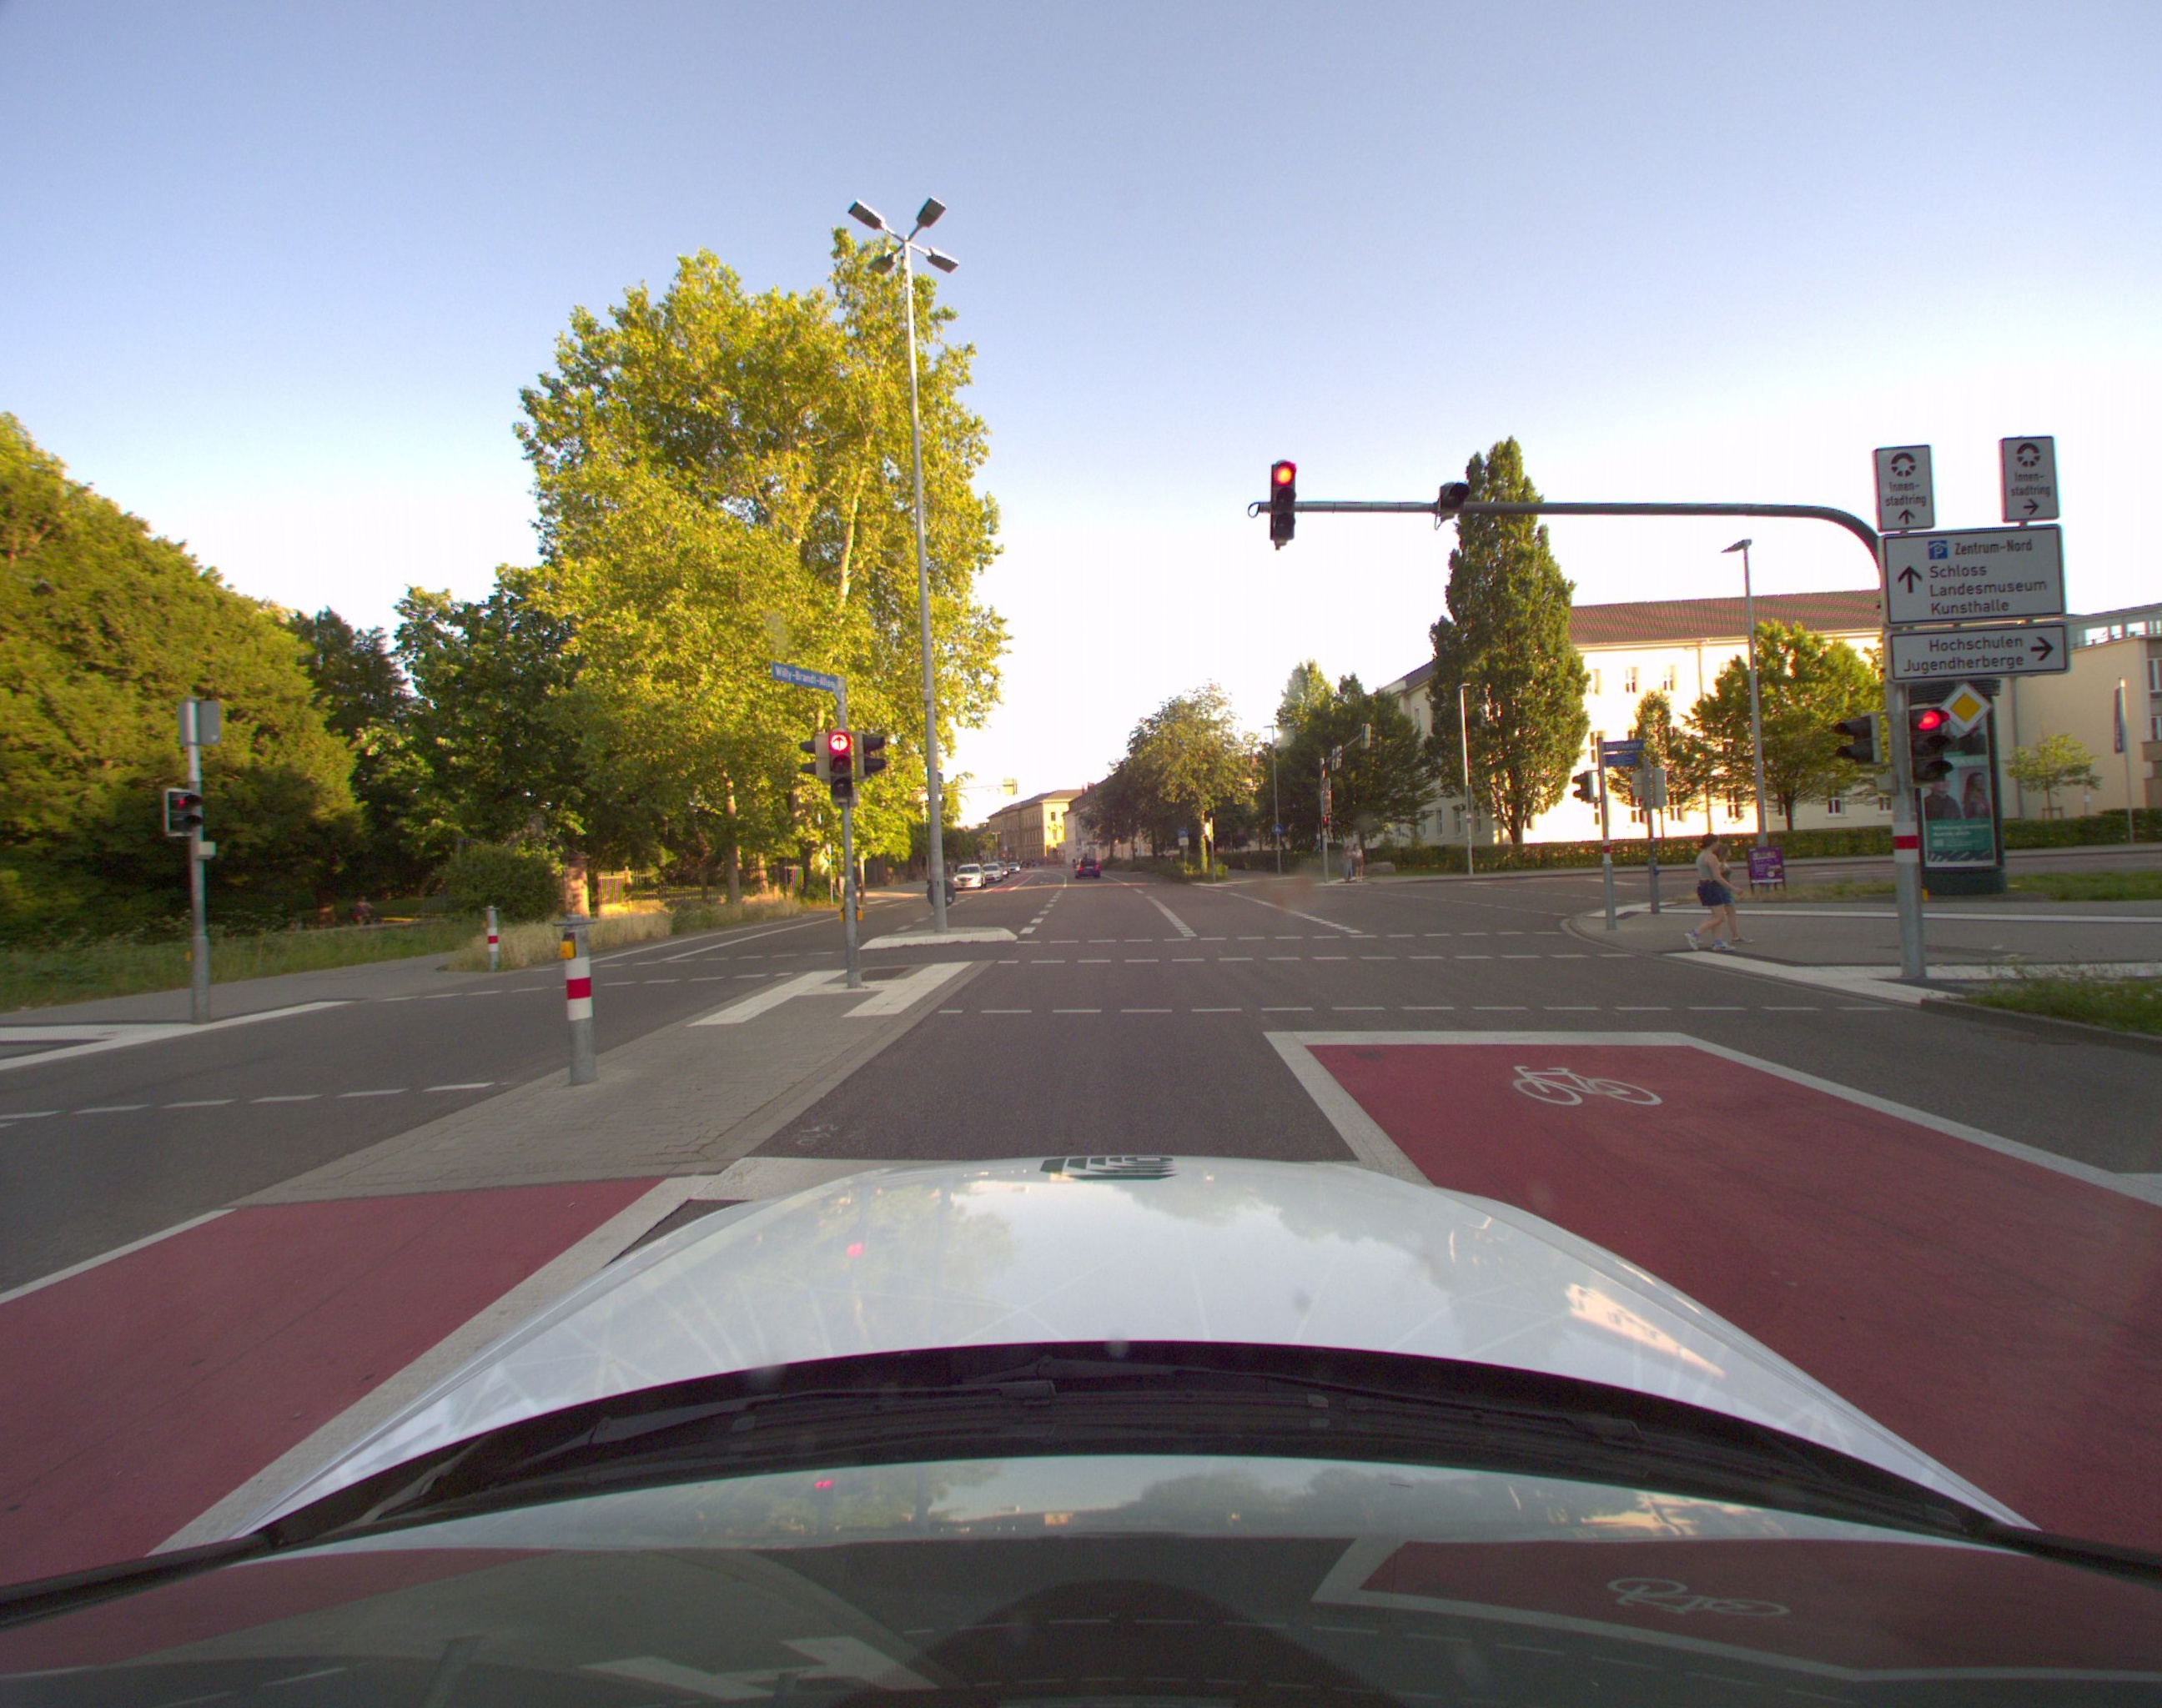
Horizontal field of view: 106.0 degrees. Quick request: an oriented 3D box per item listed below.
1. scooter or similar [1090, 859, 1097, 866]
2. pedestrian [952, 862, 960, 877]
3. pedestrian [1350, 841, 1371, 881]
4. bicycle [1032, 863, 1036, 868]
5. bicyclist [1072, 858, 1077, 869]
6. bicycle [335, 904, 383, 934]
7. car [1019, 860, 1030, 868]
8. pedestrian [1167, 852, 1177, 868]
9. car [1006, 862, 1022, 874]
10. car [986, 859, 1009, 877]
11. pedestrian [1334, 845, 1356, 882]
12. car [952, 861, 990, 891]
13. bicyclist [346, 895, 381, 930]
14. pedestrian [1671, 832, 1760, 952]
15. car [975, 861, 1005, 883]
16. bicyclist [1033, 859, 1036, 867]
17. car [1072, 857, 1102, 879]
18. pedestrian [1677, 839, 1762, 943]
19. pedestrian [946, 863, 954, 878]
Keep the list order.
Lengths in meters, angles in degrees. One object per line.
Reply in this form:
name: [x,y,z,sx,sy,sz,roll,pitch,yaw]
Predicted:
scooter or similar: [2.221,1.537,145.636,0.630,1.337,2.390,-2,-1,-12]
pedestrian: [-13.488,1.692,87.901,0.678,1.622,0.689,-3,0,1]
pedestrian: [12.596,0.328,36.725,0.678,1.754,0.689,-3,0,1]
bicycle: [-10.044,2.524,174.949,0.651,1.015,2.191,0,-1,-8]
bicyclist: [-0.835,1.253,110.802,0.650,1.446,0.879,0,-1,-2]
bicycle: [-31.761,2.860,35.813,1.955,1.256,0.796,-3,-1,23]
car: [-11.892,2.126,170.554,1.915,1.417,4.756,-5,0,-8]
pedestrian: [9.848,0.658,88.105,0.769,1.739,0.805,-3,0,-8]
car: [-8.867,1.843,107.997,1.912,1.417,4.766,-5,0,-2]
car: [-8.216,1.367,80.413,1.912,1.624,4.635,-5,0,-2]
pedestrian: [11.890,0.402,36.726,0.678,1.622,0.845,-3,0,1]
car: [-7.143,1.404,53.084,1.912,1.695,4.422,-5,0,-2]
bicyclist: [-31.441,2.561,35.679,0.881,1.427,0.796,-3,-1,23]
pedestrian: [9.118,0.532,11.736,0.767,1.660,0.725,-3,-1,21]
car: [-7.367,1.452,66.387,1.912,1.583,4.670,-5,0,-2]
bicyclist: [-10.048,1.899,174.952,0.651,1.698,0.954,0,-1,-8]
car: [0.418,1.031,61.756,1.864,1.510,3.994,-3,0,-4]
pedestrian: [9.734,0.551,12.451,0.779,1.523,0.741,-3,0,22]
pedestrian: [-14.190,1.784,88.118,0.678,1.622,0.689,-3,0,1]
